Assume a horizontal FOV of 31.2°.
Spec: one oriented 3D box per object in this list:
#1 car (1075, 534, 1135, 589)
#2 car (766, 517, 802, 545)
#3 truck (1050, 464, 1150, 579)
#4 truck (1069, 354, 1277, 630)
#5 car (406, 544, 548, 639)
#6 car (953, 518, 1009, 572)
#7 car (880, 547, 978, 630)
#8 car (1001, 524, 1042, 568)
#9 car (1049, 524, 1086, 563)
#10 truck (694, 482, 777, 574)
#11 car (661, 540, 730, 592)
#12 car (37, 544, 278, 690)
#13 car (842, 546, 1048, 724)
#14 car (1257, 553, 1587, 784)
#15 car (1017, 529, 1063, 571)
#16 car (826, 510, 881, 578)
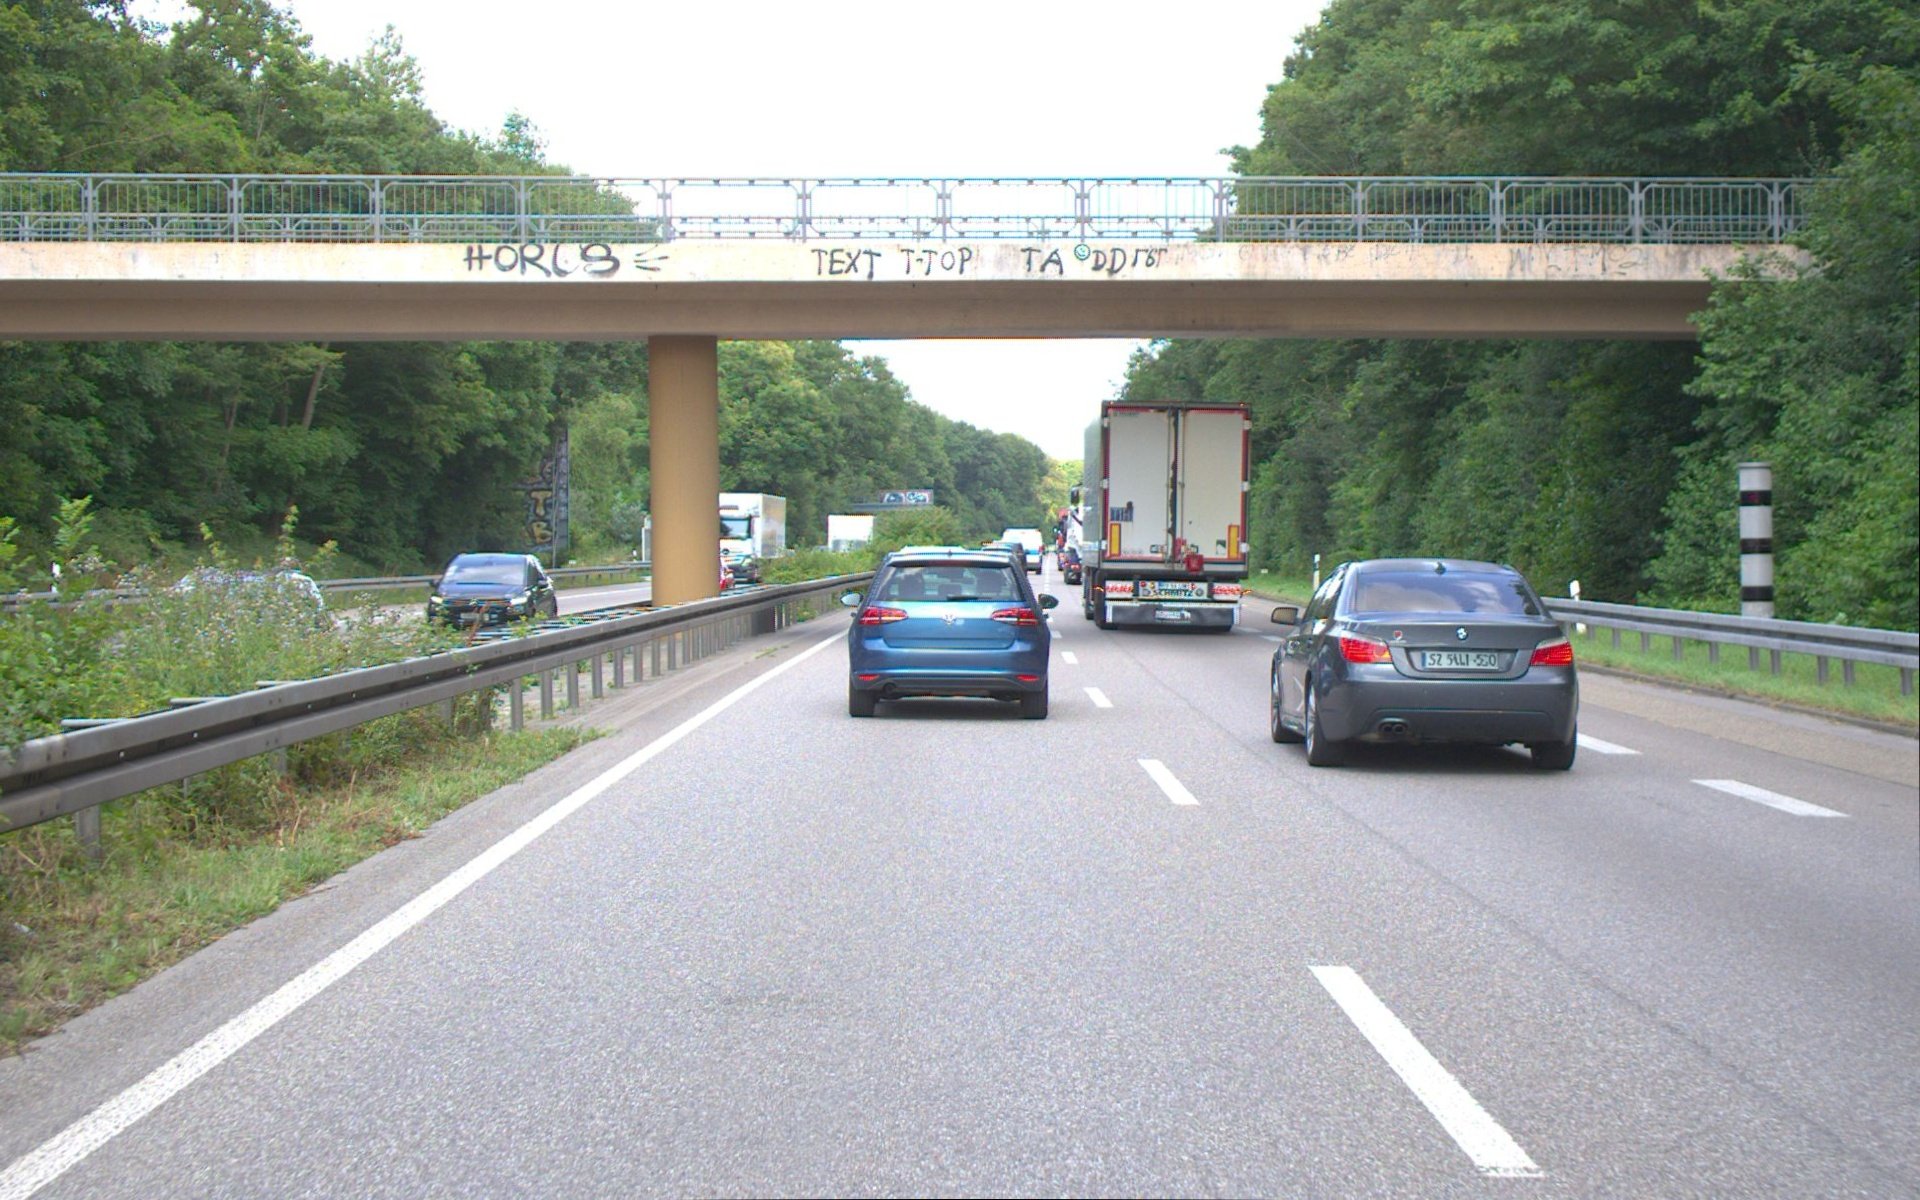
[{"bbox_3d":[4.683,-1.260,111.160,1.889,1.723,4.000,0,1,2],"label":"car"},{"bbox_3d":[-10.732,-4.179,209.712,1.828,1.655,4.595,1,1,2],"label":"car"},{"bbox_3d":[5.541,-3.037,138.153,3.232,4.371,12.971,1,0,-1],"label":"truck"},{"bbox_3d":[3.815,-1.944,64.164,3.242,4.700,11.007,0,1,0],"label":"truck"},{"bbox_3d":[-8.478,-0.176,60.683,1.865,1.583,4.565,0,1,0],"label":"car"},{"bbox_3d":[0.811,-2.098,131.672,1.954,2.007,4.000,0,1,3],"label":"car"},{"bbox_3d":[-0.553,-0.248,65.249,1.665,1.495,4.152,1,1,2],"label":"car"},{"bbox_3d":[3.156,-2.790,177.466,1.993,2.247,4.442,0,1,-1],"label":"car"},{"bbox_3d":[6.334,-3.340,203.121,1.993,2.319,4.442,0,1,-1],"label":"car"},{"bbox_3d":[-9.931,-3.191,152.509,3.040,3.973,6.748,0,1,2],"label":"truck"},{"bbox_3d":[-7.749,-1.002,100.910,1.685,1.471,4.437,0,1,0],"label":"car"},{"bbox_3d":[-9.216,0.151,39.781,1.821,1.582,4.139,0,1,0],"label":"car"},{"bbox_3d":[-0.093,0.263,30.977,1.705,1.465,4.000,1,1,1],"label":"car"},{"bbox_3d":[3.241,0.415,24.992,1.774,1.470,4.880,1,1,1],"label":"car"},{"bbox_3d":[3.626,-2.279,155.343,1.954,1.849,4.000,0,1,3],"label":"car"},{"bbox_3d":[-5.113,-2.707,165.866,2.288,3.221,7.286,0,1,1],"label":"car"}]
